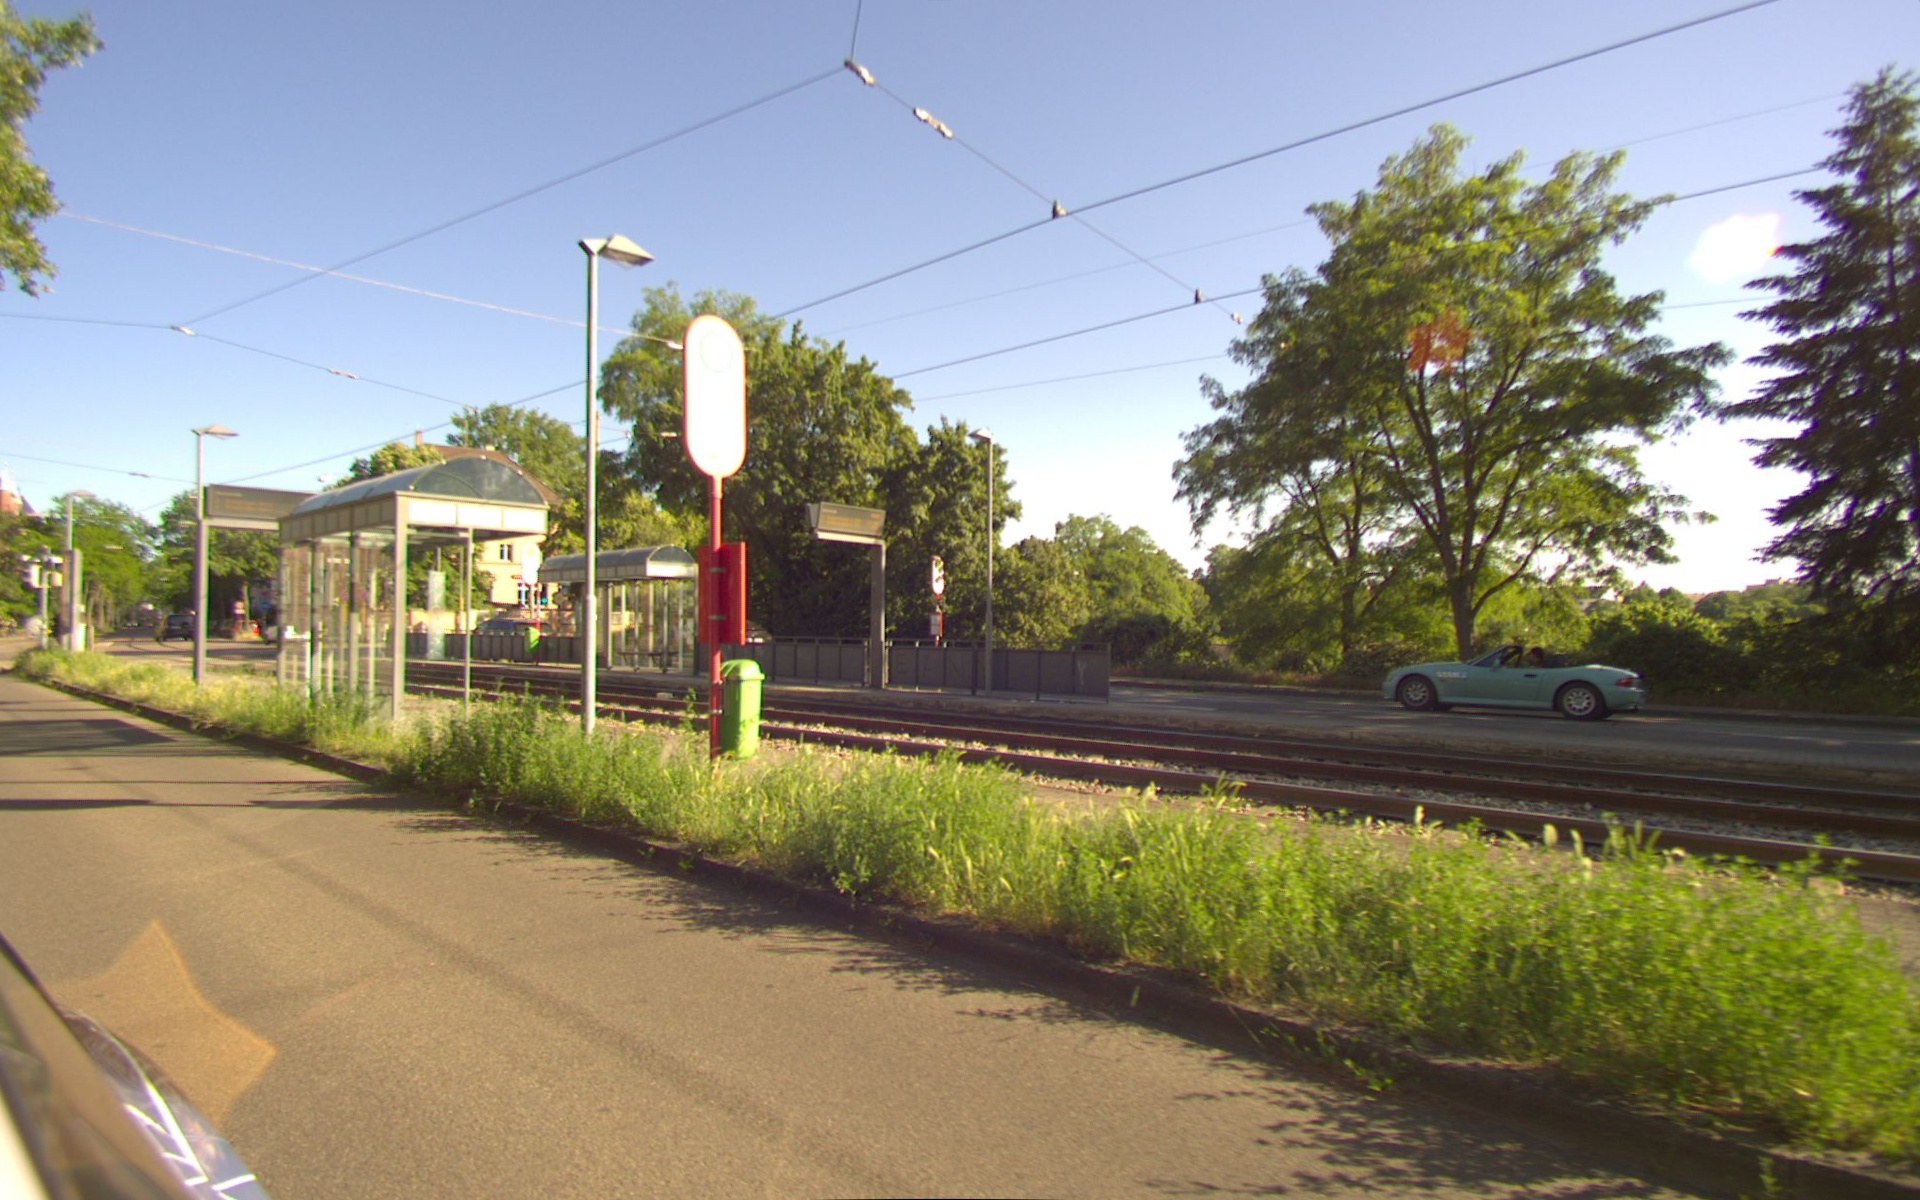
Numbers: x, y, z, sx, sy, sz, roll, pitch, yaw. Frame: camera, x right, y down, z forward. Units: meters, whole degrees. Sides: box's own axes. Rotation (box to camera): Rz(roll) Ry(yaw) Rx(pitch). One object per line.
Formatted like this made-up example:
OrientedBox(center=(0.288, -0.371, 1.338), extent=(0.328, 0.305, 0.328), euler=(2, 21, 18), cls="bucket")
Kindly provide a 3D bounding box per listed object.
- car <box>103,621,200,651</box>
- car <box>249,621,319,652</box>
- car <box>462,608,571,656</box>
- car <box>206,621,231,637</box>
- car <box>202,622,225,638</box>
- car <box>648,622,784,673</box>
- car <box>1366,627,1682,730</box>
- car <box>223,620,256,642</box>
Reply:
OrientedBox(center=(-53.201, 2.380, 66.646), extent=(4.965, 1.780, 1.998), euler=(-2, -3, 4), cls="car")
OrientedBox(center=(-36.895, 1.966, 55.180), extent=(3.992, 1.579, 1.903), euler=(-1, -2, 36), cls="car")
OrientedBox(center=(-14.765, 1.037, 33.630), extent=(3.997, 1.478, 1.786), euler=(-1, -1, 41), cls="car")
OrientedBox(center=(-77.519, 2.995, 105.744), extent=(1.789, 1.611, 3.636), euler=(1, -2, -41), cls="car")
OrientedBox(center=(-84.965, 3.428, 115.149), extent=(1.789, 1.839, 3.801), euler=(1, -2, -41), cls="car")
OrientedBox(center=(-7.746, 1.444, 31.943), extent=(4.373, 1.480, 1.973), euler=(-1, -1, 40), cls="car")
OrientedBox(center=(9.463, 1.214, 17.191), extent=(4.375, 1.480, 1.972), euler=(-1, -1, 42), cls="car")
OrientedBox(center=(-58.931, 2.519, 82.756), extent=(1.789, 1.719, 3.378), euler=(2, -3, -43), cls="car")
